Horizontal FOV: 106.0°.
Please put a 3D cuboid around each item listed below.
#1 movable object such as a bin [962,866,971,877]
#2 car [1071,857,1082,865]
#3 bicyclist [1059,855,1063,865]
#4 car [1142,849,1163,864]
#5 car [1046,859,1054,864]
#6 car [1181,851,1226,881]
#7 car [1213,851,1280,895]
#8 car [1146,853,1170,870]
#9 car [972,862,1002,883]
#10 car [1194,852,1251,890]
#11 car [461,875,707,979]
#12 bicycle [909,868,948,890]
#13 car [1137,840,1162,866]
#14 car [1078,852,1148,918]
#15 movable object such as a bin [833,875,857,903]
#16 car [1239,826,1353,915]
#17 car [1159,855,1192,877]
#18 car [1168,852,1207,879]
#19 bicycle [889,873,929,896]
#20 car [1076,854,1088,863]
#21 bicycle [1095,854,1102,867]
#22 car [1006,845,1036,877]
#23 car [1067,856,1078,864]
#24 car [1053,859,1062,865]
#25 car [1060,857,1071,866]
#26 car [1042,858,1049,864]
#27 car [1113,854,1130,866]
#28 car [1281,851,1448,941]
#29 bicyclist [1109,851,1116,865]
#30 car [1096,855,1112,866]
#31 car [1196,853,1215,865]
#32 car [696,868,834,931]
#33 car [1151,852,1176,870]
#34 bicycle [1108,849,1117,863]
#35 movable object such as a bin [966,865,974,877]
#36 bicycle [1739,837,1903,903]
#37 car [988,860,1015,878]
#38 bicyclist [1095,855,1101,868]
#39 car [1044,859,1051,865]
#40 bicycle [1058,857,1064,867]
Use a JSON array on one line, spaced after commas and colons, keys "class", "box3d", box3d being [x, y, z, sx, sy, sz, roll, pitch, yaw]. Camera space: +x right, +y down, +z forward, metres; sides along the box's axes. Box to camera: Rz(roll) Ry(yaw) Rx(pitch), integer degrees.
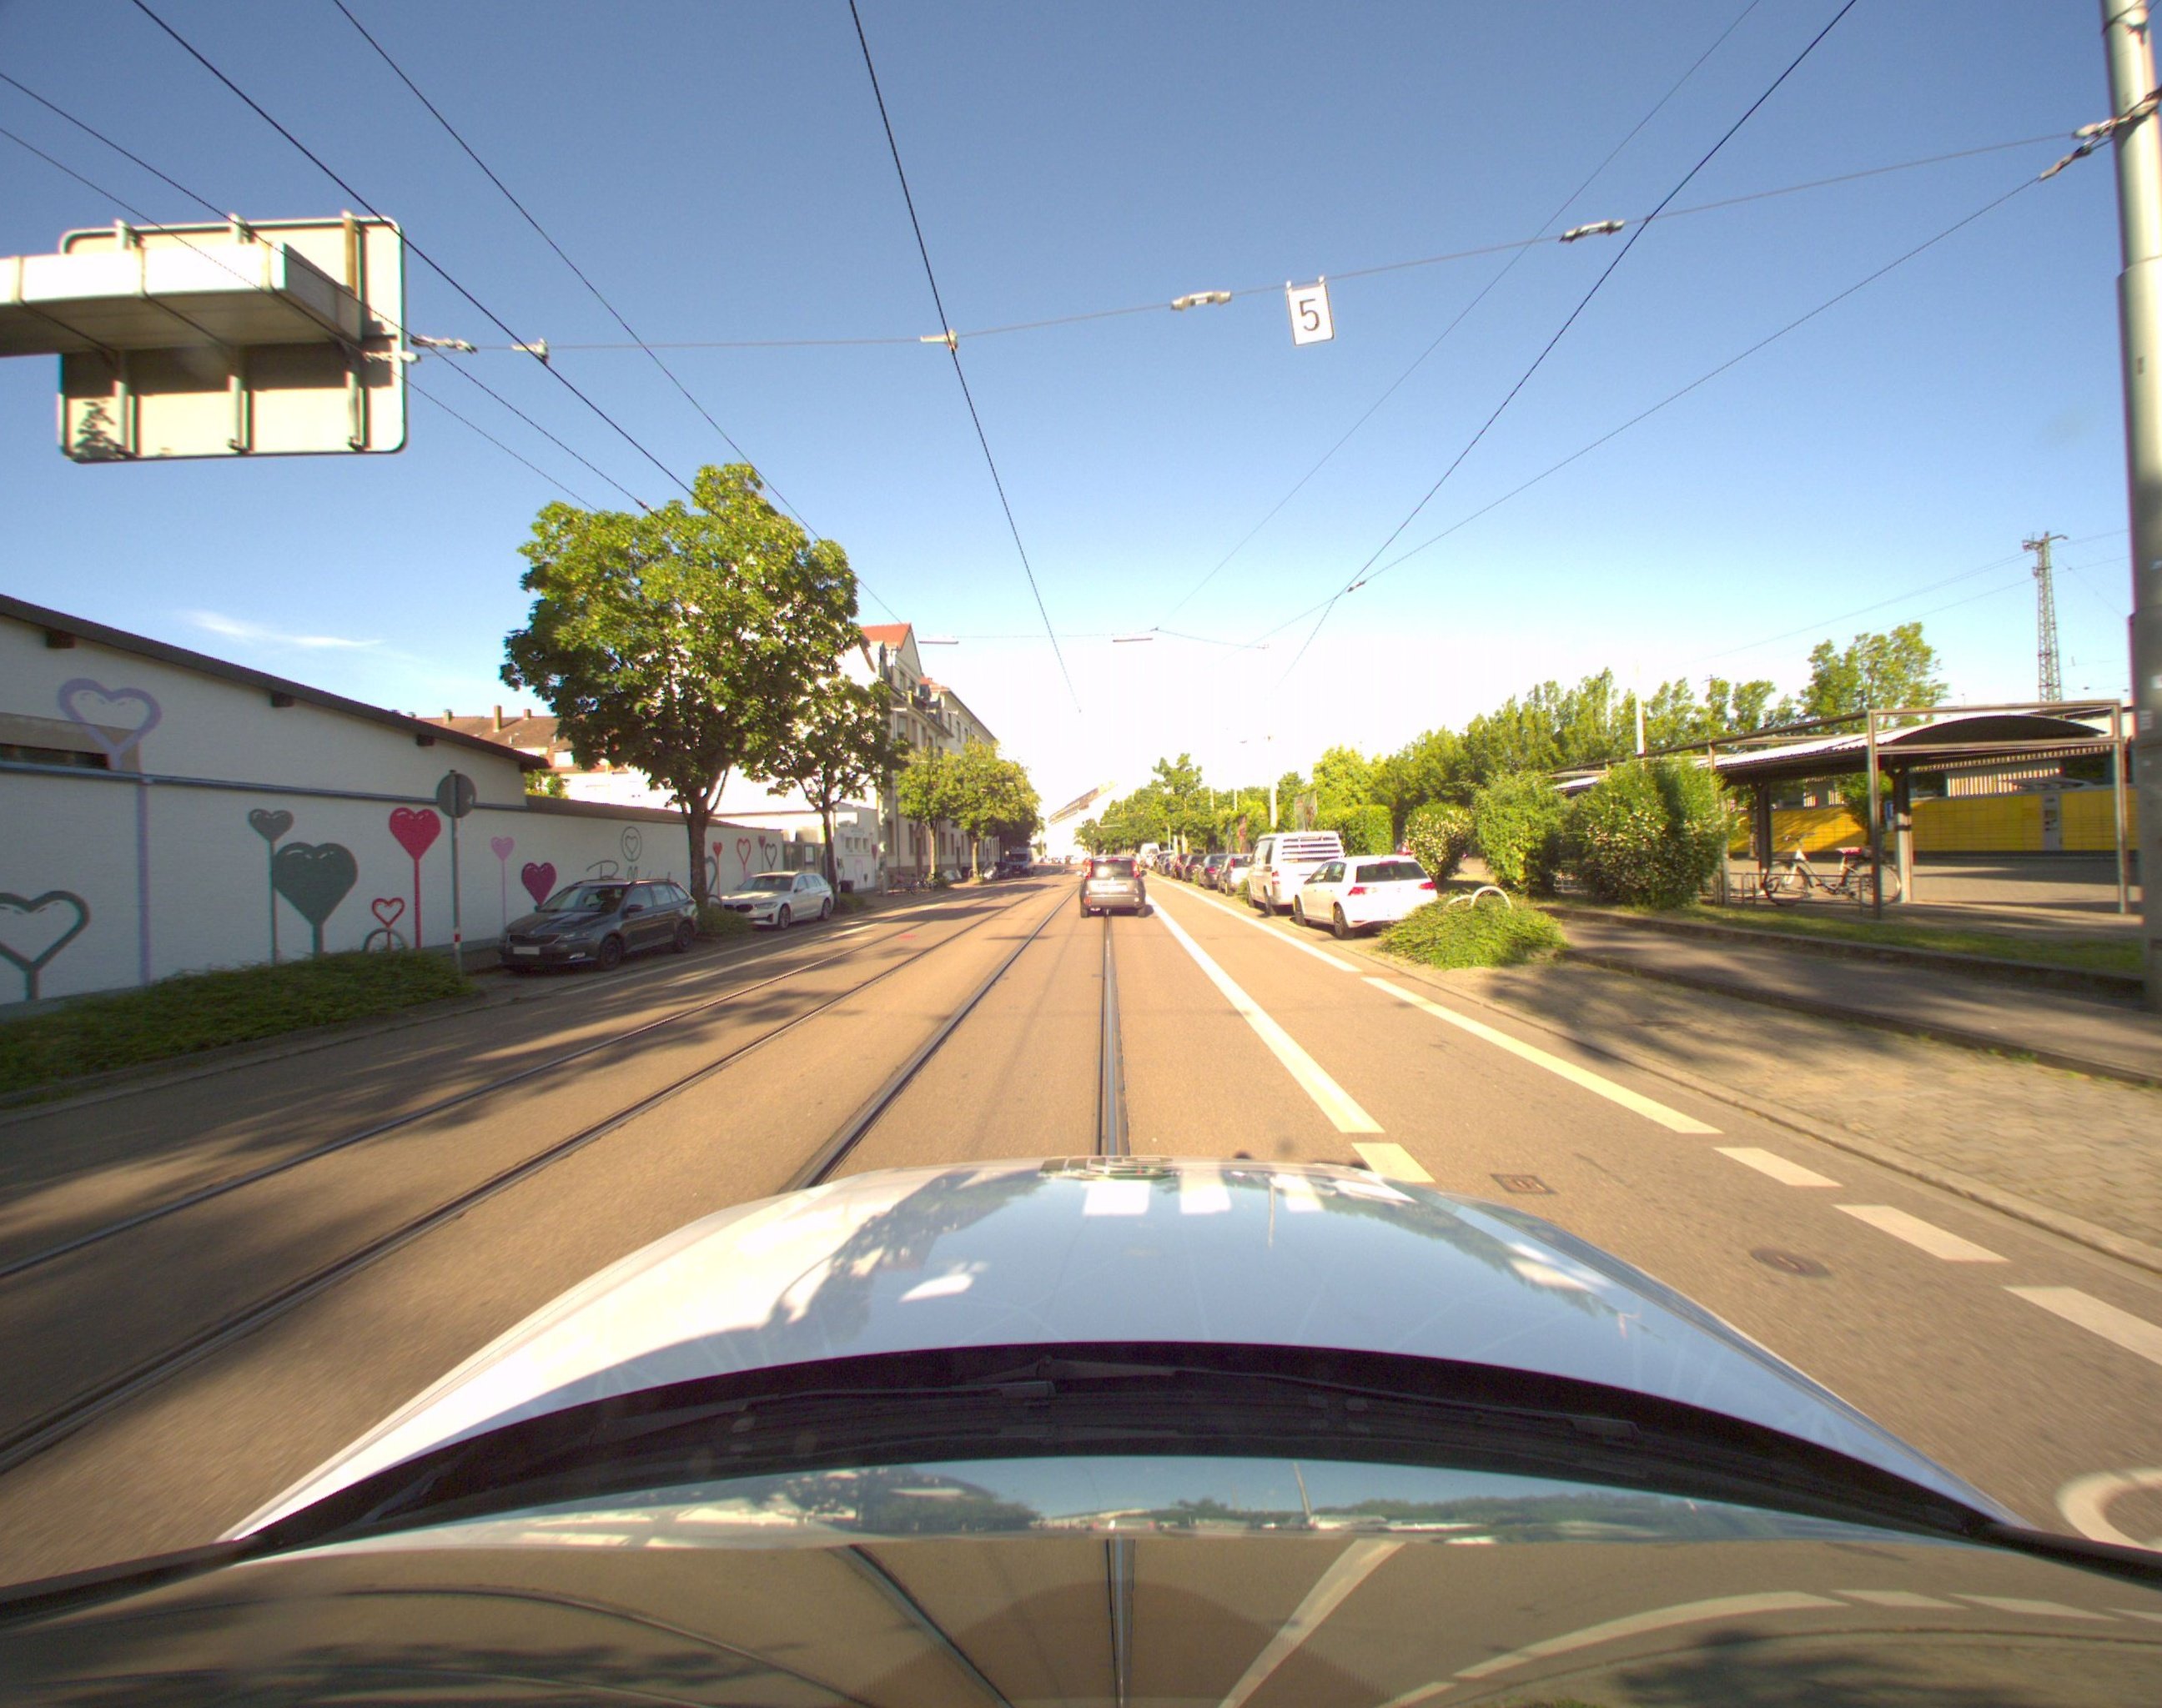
[{"class": "movable object such as a bin", "box3d": [-9.410, 1.431, 66.934, 0.594, 0.934, 0.568, -2, 0, -1]}, {"class": "car", "box3d": [-0.987, 1.437, 162.146, 1.655, 1.571, 3.488, -1, -1, -9]}, {"class": "bicyclist", "box3d": [-4.167, 1.307, 167.678, 0.715, 2.014, 0.829, -1, -1, -9]}, {"class": "car", "box3d": [7.574, 0.286, 86.595, 1.904, 1.530, 4.601, -3, -1, 1]}, {"class": "car", "box3d": [-7.766, 1.860, 204.235, 1.582, 1.405, 3.366, -1, -1, -9]}, {"class": "car", "box3d": [6.408, 0.612, 43.108, 1.817, 1.452, 4.644, -2, -1, 2]}, {"class": "car", "box3d": [5.960, 0.650, 29.832, 1.865, 1.473, 4.079, -1, -1, 4]}, {"class": "car", "box3d": [7.281, 0.740, 77.243, 1.723, 1.512, 4.250, -1, -1, -1]}, {"class": "car", "box3d": [-7.094, 1.352, 61.583, 1.645, 1.491, 4.002, -1, -1, 2]}, {"class": "car", "box3d": [5.967, 0.682, 34.758, 1.817, 1.484, 4.604, -1, -1, 3]}, {"class": "car", "box3d": [-8.645, 1.178, 14.690, 1.767, 1.486, 4.304, -1, -1, 0]}, {"class": "bicycle", "box3d": [-7.807, 1.272, 41.755, 1.998, 1.040, 0.526, 0, -1, -44]}, {"class": "car", "box3d": [7.803, -0.095, 93.224, 2.173, 2.665, 6.090, -4, -1, 0]}, {"class": "car", "box3d": [0.811, 0.742, 21.278, 1.644, 1.541, 4.236, 0, 0, 2]}, {"class": "movable object such as a bin", "box3d": [-8.593, 1.255, 29.663, 0.579, 0.960, 0.702, 3, -1, 2]}, {"class": "car", "box3d": [5.477, 0.396, 21.447, 1.846, 1.991, 5.247, -2, -1, 4]}, {"class": "car", "box3d": [6.709, 0.830, 58.140, 1.723, 1.464, 4.339, -1, -1, -1]}, {"class": "car", "box3d": [6.389, 0.688, 49.267, 1.818, 1.493, 3.814, -4, -1, 0]}, {"class": "bicycle", "box3d": [-8.045, 1.418, 38.112, 0.661, 1.040, 1.798, -1, -1, 39]}, {"class": "car", "box3d": [0.159, 0.743, 143.606, 1.634, 1.508, 3.388, -4, 0, -8]}, {"class": "bicycle", "box3d": [2.447, 0.958, 115.541, 0.675, 1.747, 2.151, -1, -1, -9]}, {"class": "car", "box3d": [-5.499, 0.675, 75.756, 2.009, 2.826, 6.036, -1, -1, 3]}, {"class": "car", "box3d": [-1.773, 1.229, 166.468, 1.655, 1.571, 3.864, -1, -1, -9]}, {"class": "car", "box3d": [-5.592, 1.860, 190.479, 1.583, 1.405, 3.366, -5, 0, -9]}, {"class": "car", "box3d": [-3.326, 1.702, 176.573, 1.655, 1.944, 4.650, -1, -1, -9]}, {"class": "car", "box3d": [-9.524, 1.866, 216.976, 1.582, 1.599, 3.366, -1, -1, -9]}, {"class": "car", "box3d": [5.559, 0.886, 112.322, 1.686, 1.530, 3.993, -3, 0, -5]}, {"class": "car", "box3d": [5.360, 0.732, 16.061, 1.670, 1.418, 4.502, -4, -1, 0]}, {"class": "bicyclist", "box3d": [4.127, 0.549, 107.065, 0.699, 1.759, 0.755, -1, -1, -9]}, {"class": "car", "box3d": [3.637, 1.058, 128.669, 1.689, 1.530, 3.985, -3, 0, -11]}, {"class": "car", "box3d": [11.653, 0.459, 76.436, 1.304, 1.033, 3.057, -1, -1, 1]}, {"class": "car", "box3d": [-8.485, 1.154, 22.385, 1.858, 1.490, 4.663, -1, -1, 1]}, {"class": "car", "box3d": [7.337, 0.627, 72.458, 1.723, 1.604, 4.340, -1, -1, -1]}, {"class": "bicycle", "box3d": [4.124, 0.277, 107.084, 0.675, 1.747, 2.151, -1, -1, -9]}, {"class": "movable object such as a bin", "box3d": [-9.366, 1.445, 68.730, 0.594, 0.934, 0.568, -2, 0, -1]}, {"class": "bicycle", "box3d": [11.826, 0.264, 13.072, 1.883, 1.008, 0.579, -1, -1, 13]}, {"class": "car", "box3d": [-6.609, 1.267, 67.897, 1.645, 1.425, 4.191, -1, -1, 2]}, {"class": "bicyclist", "box3d": [2.423, 1.045, 115.570, 0.699, 1.759, 0.755, -1, -1, -9]}, {"class": "car", "box3d": [-8.702, 2.127, 210.421, 1.582, 1.599, 3.366, -1, -1, -9]}, {"class": "bicycle", "box3d": [-4.157, 1.687, 167.664, 0.741, 2.014, 2.803, -1, -1, -9]}]
